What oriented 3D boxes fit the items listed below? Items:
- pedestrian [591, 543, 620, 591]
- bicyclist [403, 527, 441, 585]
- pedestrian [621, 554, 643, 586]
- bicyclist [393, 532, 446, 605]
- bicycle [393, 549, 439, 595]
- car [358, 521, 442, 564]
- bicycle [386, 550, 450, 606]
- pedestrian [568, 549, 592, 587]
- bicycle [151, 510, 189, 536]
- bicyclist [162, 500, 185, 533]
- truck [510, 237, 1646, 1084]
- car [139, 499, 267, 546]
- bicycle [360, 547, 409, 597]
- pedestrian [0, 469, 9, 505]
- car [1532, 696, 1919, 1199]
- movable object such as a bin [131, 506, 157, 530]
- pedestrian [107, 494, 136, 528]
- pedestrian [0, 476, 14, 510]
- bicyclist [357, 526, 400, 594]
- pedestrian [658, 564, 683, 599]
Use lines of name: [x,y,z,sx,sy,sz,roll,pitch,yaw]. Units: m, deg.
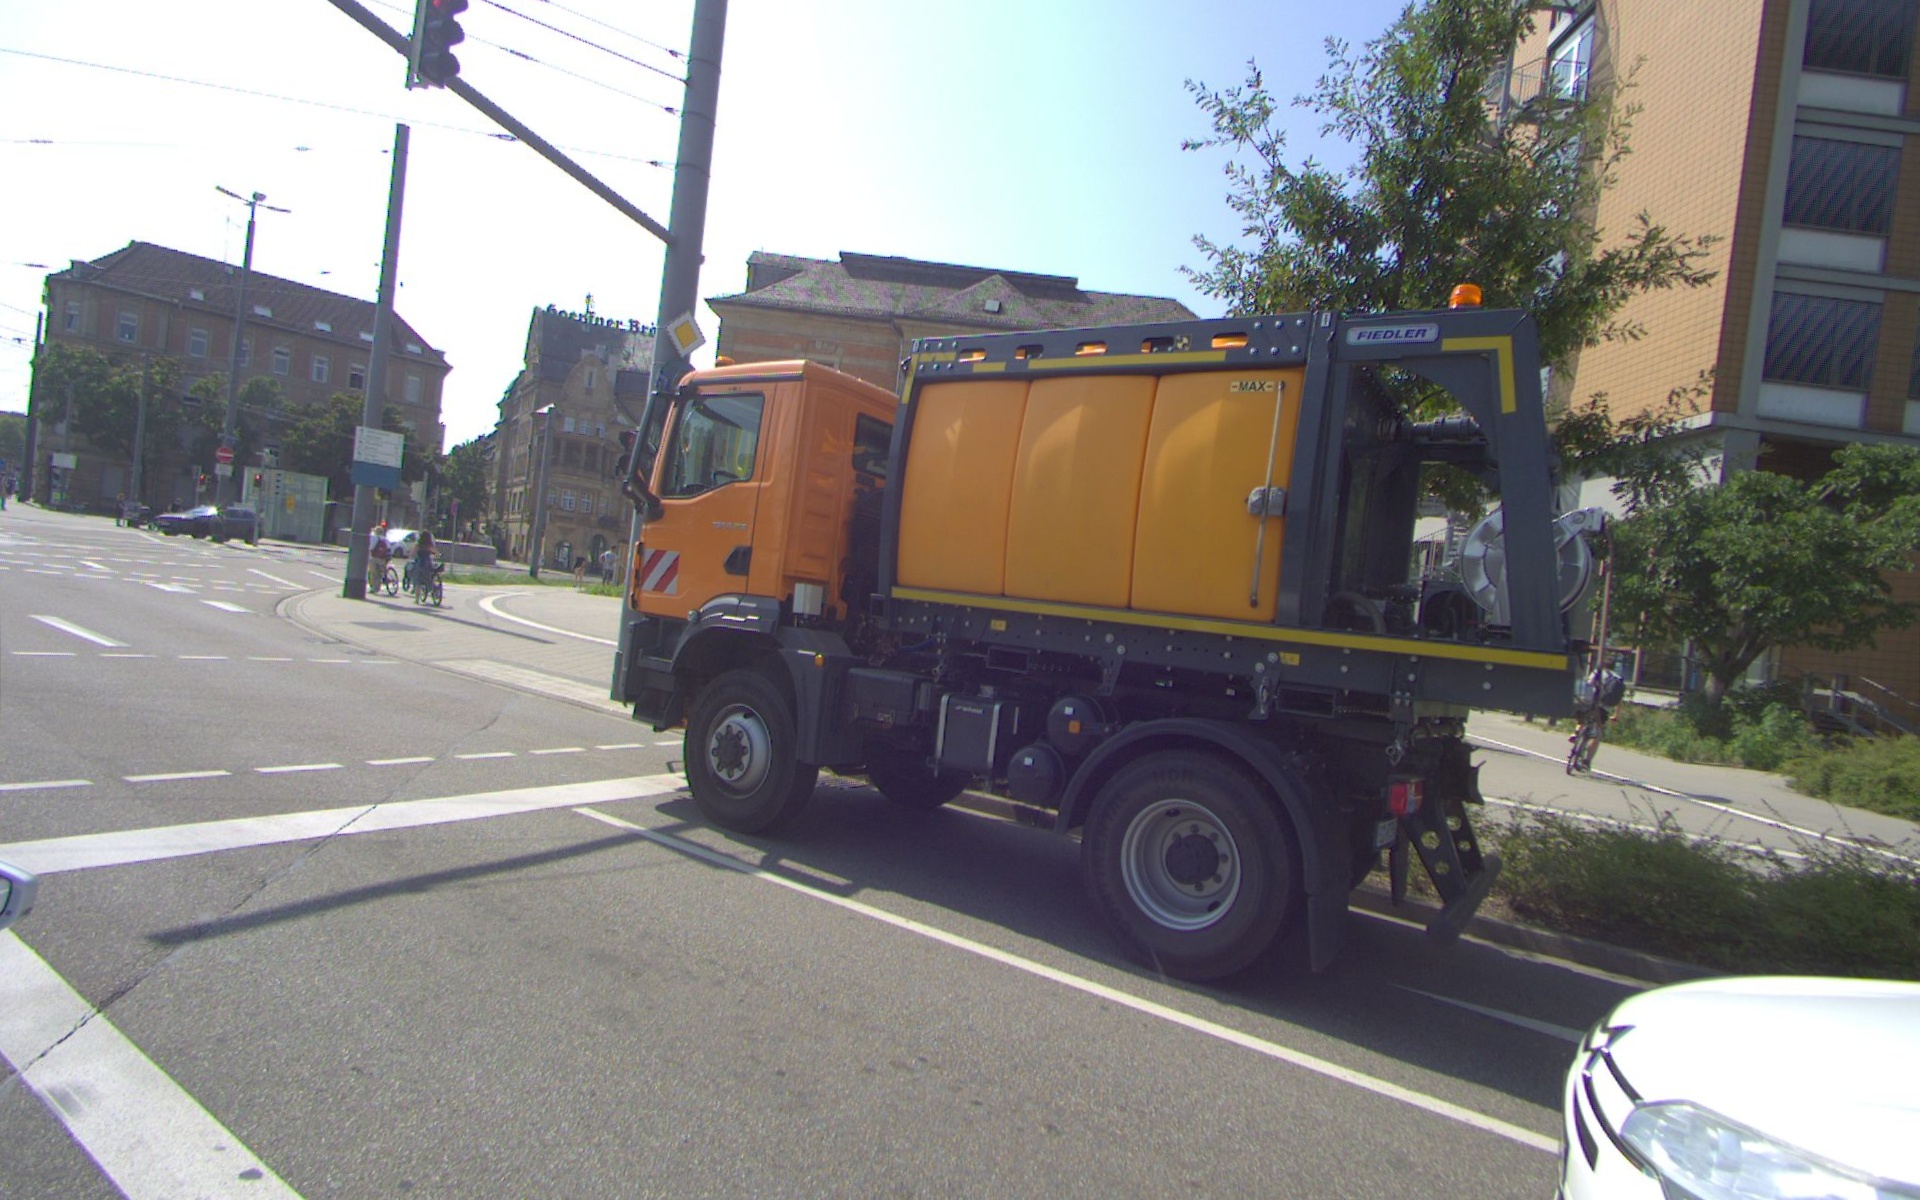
pedestrian: [-13.650,-1.272,38.740,0.808,1.746,0.546,6,1,-9]
bicyclist: [-14.093,-1.156,26.352,0.882,1.410,0.529,7,1,44]
pedestrian: [-13.542,-1.247,41.589,0.659,1.229,0.523,6,1,-30]
bicyclist: [-12.233,-0.701,22.768,0.653,1.537,0.734,7,1,36]
bicycle: [-14.407,-0.741,26.636,1.632,1.068,0.535,7,1,45]
car: [-33.596,-3.399,60.489,1.962,2.038,4.627,7,0,5]
bicycle: [-12.315,-0.505,22.836,1.795,1.068,0.492,7,1,37]
pedestrian: [-17.099,-1.431,45.290,0.727,1.595,0.787,6,1,-14]
bicycle: [-39.803,-3.871,50.684,1.622,1.068,0.471,7,1,12]
bicyclist: [-39.576,-4.210,50.652,0.511,1.548,0.613,7,1,8]
truck: [0.259,0.007,6.679,6.751,3.173,2.493,7,0,34]
car: [-35.671,-3.607,47.577,1.962,1.523,4.628,7,0,12]
bicycle: [-13.881,-0.687,24.257,1.632,1.068,0.535,7,1,45]
pedestrian: [-82.540,-9.737,86.365,0.960,3.055,0.983,7,1,38]
car: [3.269,1.171,1.068,4.533,1.446,1.770,7,0,32]
movable object such as a bin: [-41.630,-4.162,51.342,0.502,1.091,0.815,7,1,21]
pedestrian: [-42.280,-4.466,50.734,0.519,1.564,0.852,7,1,24]
pedestrian: [-48.353,-5.417,50.698,0.562,1.623,0.701,7,1,24]
bicyclist: [-14.131,-0.971,24.448,0.702,1.537,0.626,7,1,44]
pedestrian: [-12.556,-0.791,43.656,0.679,1.417,0.767,7,1,7]
